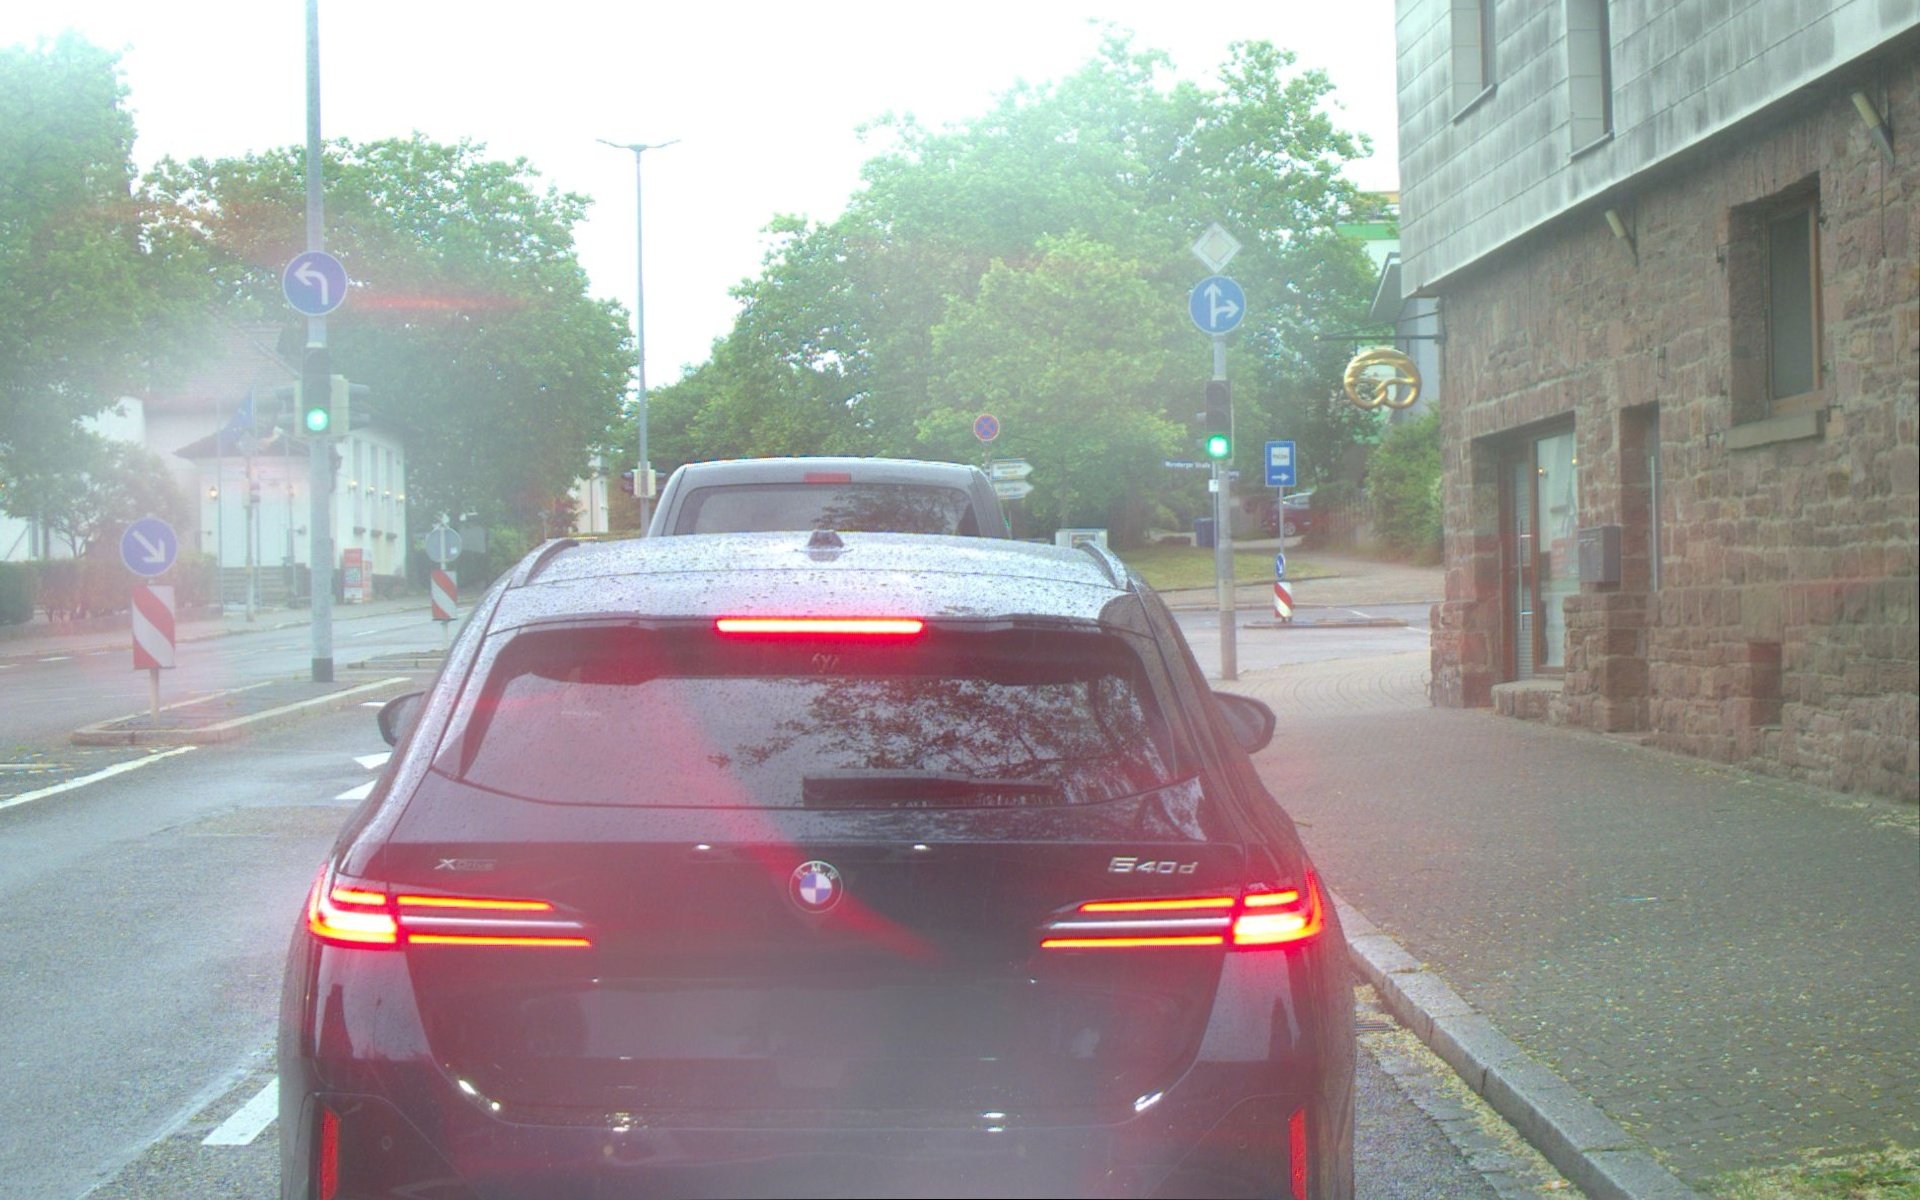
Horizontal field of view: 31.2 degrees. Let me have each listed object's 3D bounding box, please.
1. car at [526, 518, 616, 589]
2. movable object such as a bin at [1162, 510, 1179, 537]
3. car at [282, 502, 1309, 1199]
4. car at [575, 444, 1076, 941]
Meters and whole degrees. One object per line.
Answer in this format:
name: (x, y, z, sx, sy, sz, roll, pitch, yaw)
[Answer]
car: (-9.256, -1.133, 82.091, 1.898, 1.572, 4.503, -1, 2, -4)
movable object such as a bin: (7.062, -2.574, 115.283, 0.450, 0.902, 0.462, 1, 0, 15)
car: (-0.353, 0.611, 6.912, 1.523, 1.529, 3.532, 1, 0, -4)
car: (-0.607, 0.325, 14.490, 1.812, 1.802, 3.757, 1, 0, -4)
